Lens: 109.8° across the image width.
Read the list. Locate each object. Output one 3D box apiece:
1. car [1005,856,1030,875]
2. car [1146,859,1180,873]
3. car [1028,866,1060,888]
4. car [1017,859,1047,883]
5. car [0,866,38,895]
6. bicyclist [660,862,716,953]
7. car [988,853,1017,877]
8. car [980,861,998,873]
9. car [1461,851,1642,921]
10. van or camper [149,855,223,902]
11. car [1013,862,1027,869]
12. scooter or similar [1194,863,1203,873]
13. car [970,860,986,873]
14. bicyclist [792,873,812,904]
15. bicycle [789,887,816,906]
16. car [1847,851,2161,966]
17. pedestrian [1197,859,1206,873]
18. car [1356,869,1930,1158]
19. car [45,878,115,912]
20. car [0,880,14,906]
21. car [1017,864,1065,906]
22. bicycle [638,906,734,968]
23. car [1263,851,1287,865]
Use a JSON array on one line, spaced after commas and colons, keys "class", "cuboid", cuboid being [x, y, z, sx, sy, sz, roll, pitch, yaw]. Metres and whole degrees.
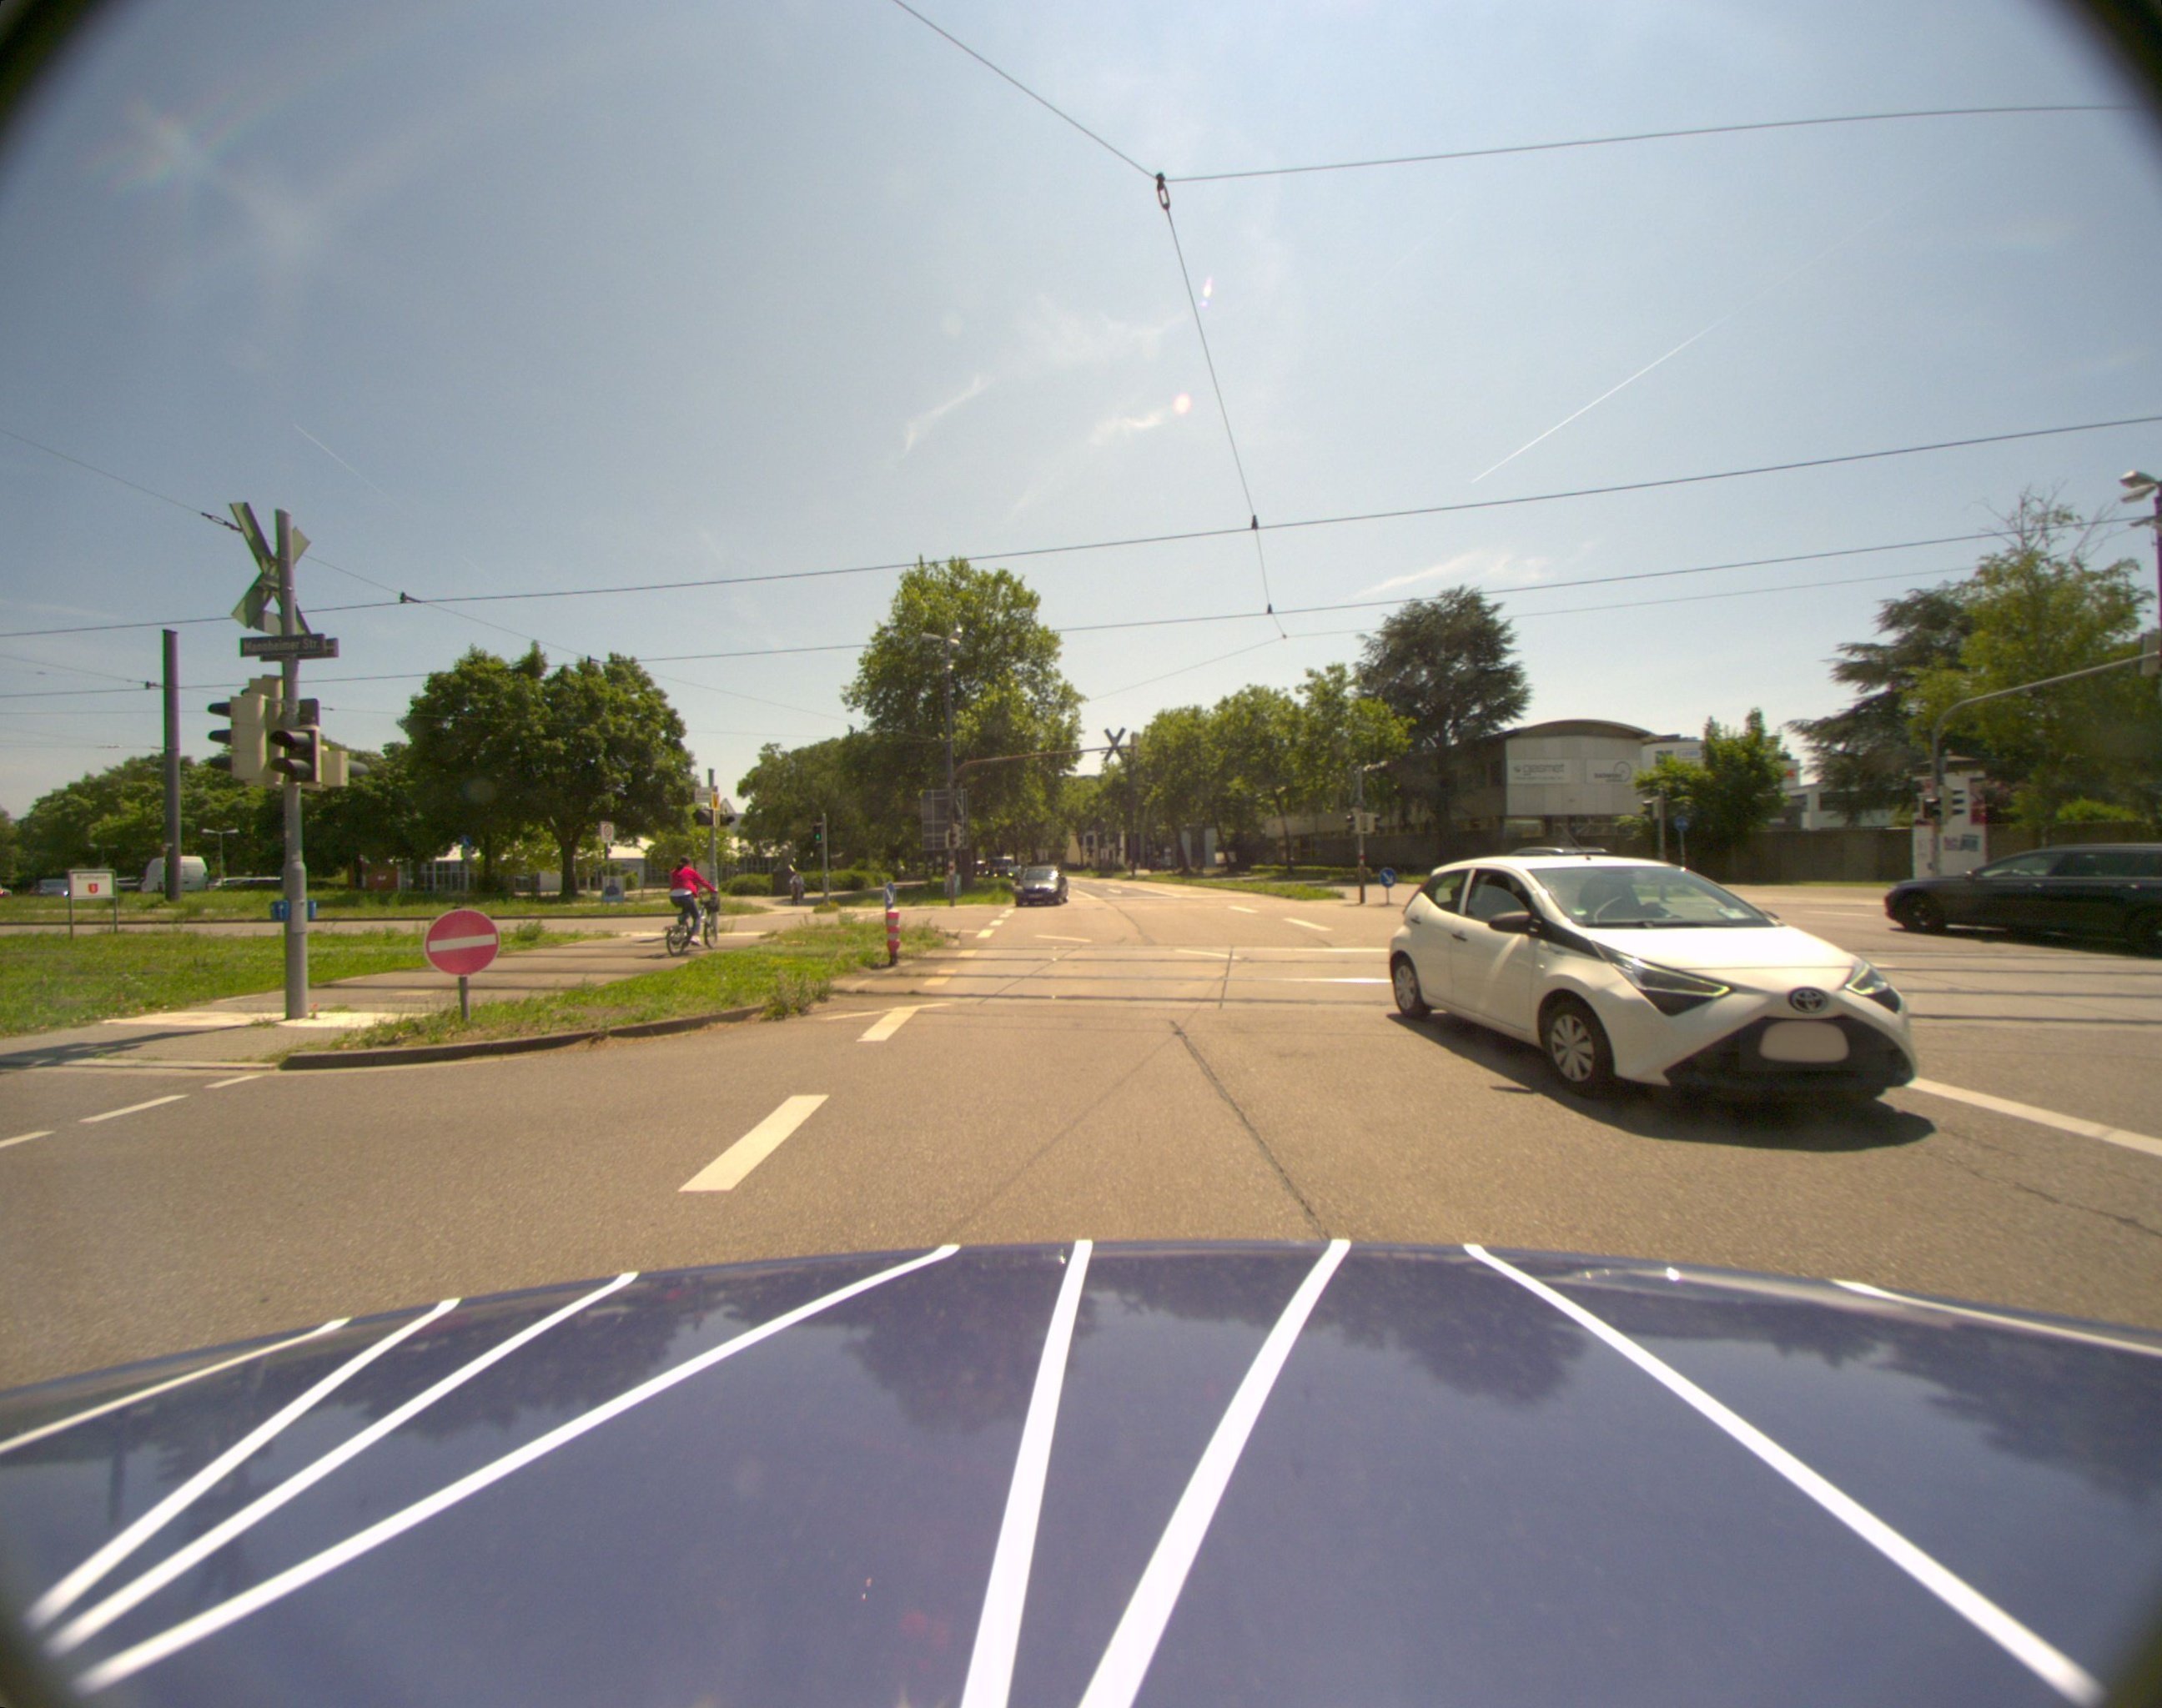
[{"class": "car", "cuboid": [-6.107, 1.097, 73.159, 2.000, 1.783, 3.996, -1, 0, -10]}, {"class": "car", "cuboid": [11.017, 1.625, 101.723, 4.452, 1.669, 1.912, -1, -1, -42]}, {"class": "car", "cuboid": [-2.585, 1.565, 52.396, 1.879, 1.448, 3.783, -1, 0, -8]}, {"class": "car", "cuboid": [-4.043, 1.396, 62.114, 2.000, 1.870, 3.997, -1, 0, -10]}, {"class": "car", "cuboid": [-77.510, 1.900, 53.542, 2.241, 2.002, 4.431, -1, 0, 27]}, {"class": "bicyclist", "cuboid": [-6.863, 0.917, 13.290, 0.579, 1.547, 0.674, -1, 0, 6]}, {"class": "car", "cuboid": [-9.096, 1.297, 87.932, 2.920, 2.638, 6.361, -1, 0, -9]}, {"class": "car", "cuboid": [-12.579, 1.769, 103.714, 2.001, 1.608, 3.996, -1, 0, -13]}, {"class": "car", "cuboid": [11.555, 0.725, 19.056, 1.914, 1.529, 4.299, -1, 0, 1]}, {"class": "van or camper", "cuboid": [-54.947, 1.493, 46.637, 5.116, 2.735, 2.207, -1, 0, 32]}, {"class": "car", "cuboid": [-12.075, 2.245, 150.557, 1.860, 1.410, 4.542, -1, 0, -15]}, {"class": "scooter or similar", "cuboid": [13.486, 1.589, 87.176, 0.680, 1.156, 0.858, -1, 0, -14]}, {"class": "car", "cuboid": [-15.318, 1.873, 112.695, 2.001, 1.827, 3.996, -1, 0, -12]}, {"class": "bicyclist", "cuboid": [-12.341, 1.511, 33.624, 0.600, 1.331, 0.666, -1, 0, 6]}, {"class": "bicycle", "cuboid": [-12.297, 1.859, 33.595, 0.465, 0.759, 1.669, -1, 0, 4]}, {"class": "car", "cuboid": [14.636, 0.686, 11.146, 1.954, 1.431, 4.746, -1, 0, -1]}, {"class": "pedestrian", "cuboid": [13.690, 1.384, 86.378, 0.644, 1.551, 0.790, -1, 0, -14]}, {"class": "car", "cuboid": [3.623, 0.870, 5.817, 1.623, 1.437, 3.651, -1, 0, -1]}, {"class": "car", "cuboid": [-55.535, 2.249, 42.131, 4.060, 1.708, 1.960, -1, 0, 32]}, {"class": "car", "cuboid": [-67.522, 2.440, 46.103, 1.510, 1.594, 3.087, -1, 0, 31]}, {"class": "car", "cuboid": [-1.507, 1.157, 28.745, 1.654, 1.453, 3.865, -1, -2, -3]}, {"class": "bicycle", "cuboid": [-6.860, 1.416, 13.296, 0.588, 0.890, 1.812, -1, 0, 6]}, {"class": "car", "cuboid": [24.065, 0.473, 94.375, 1.821, 1.637, 3.526, -3, 0, -5]}]
